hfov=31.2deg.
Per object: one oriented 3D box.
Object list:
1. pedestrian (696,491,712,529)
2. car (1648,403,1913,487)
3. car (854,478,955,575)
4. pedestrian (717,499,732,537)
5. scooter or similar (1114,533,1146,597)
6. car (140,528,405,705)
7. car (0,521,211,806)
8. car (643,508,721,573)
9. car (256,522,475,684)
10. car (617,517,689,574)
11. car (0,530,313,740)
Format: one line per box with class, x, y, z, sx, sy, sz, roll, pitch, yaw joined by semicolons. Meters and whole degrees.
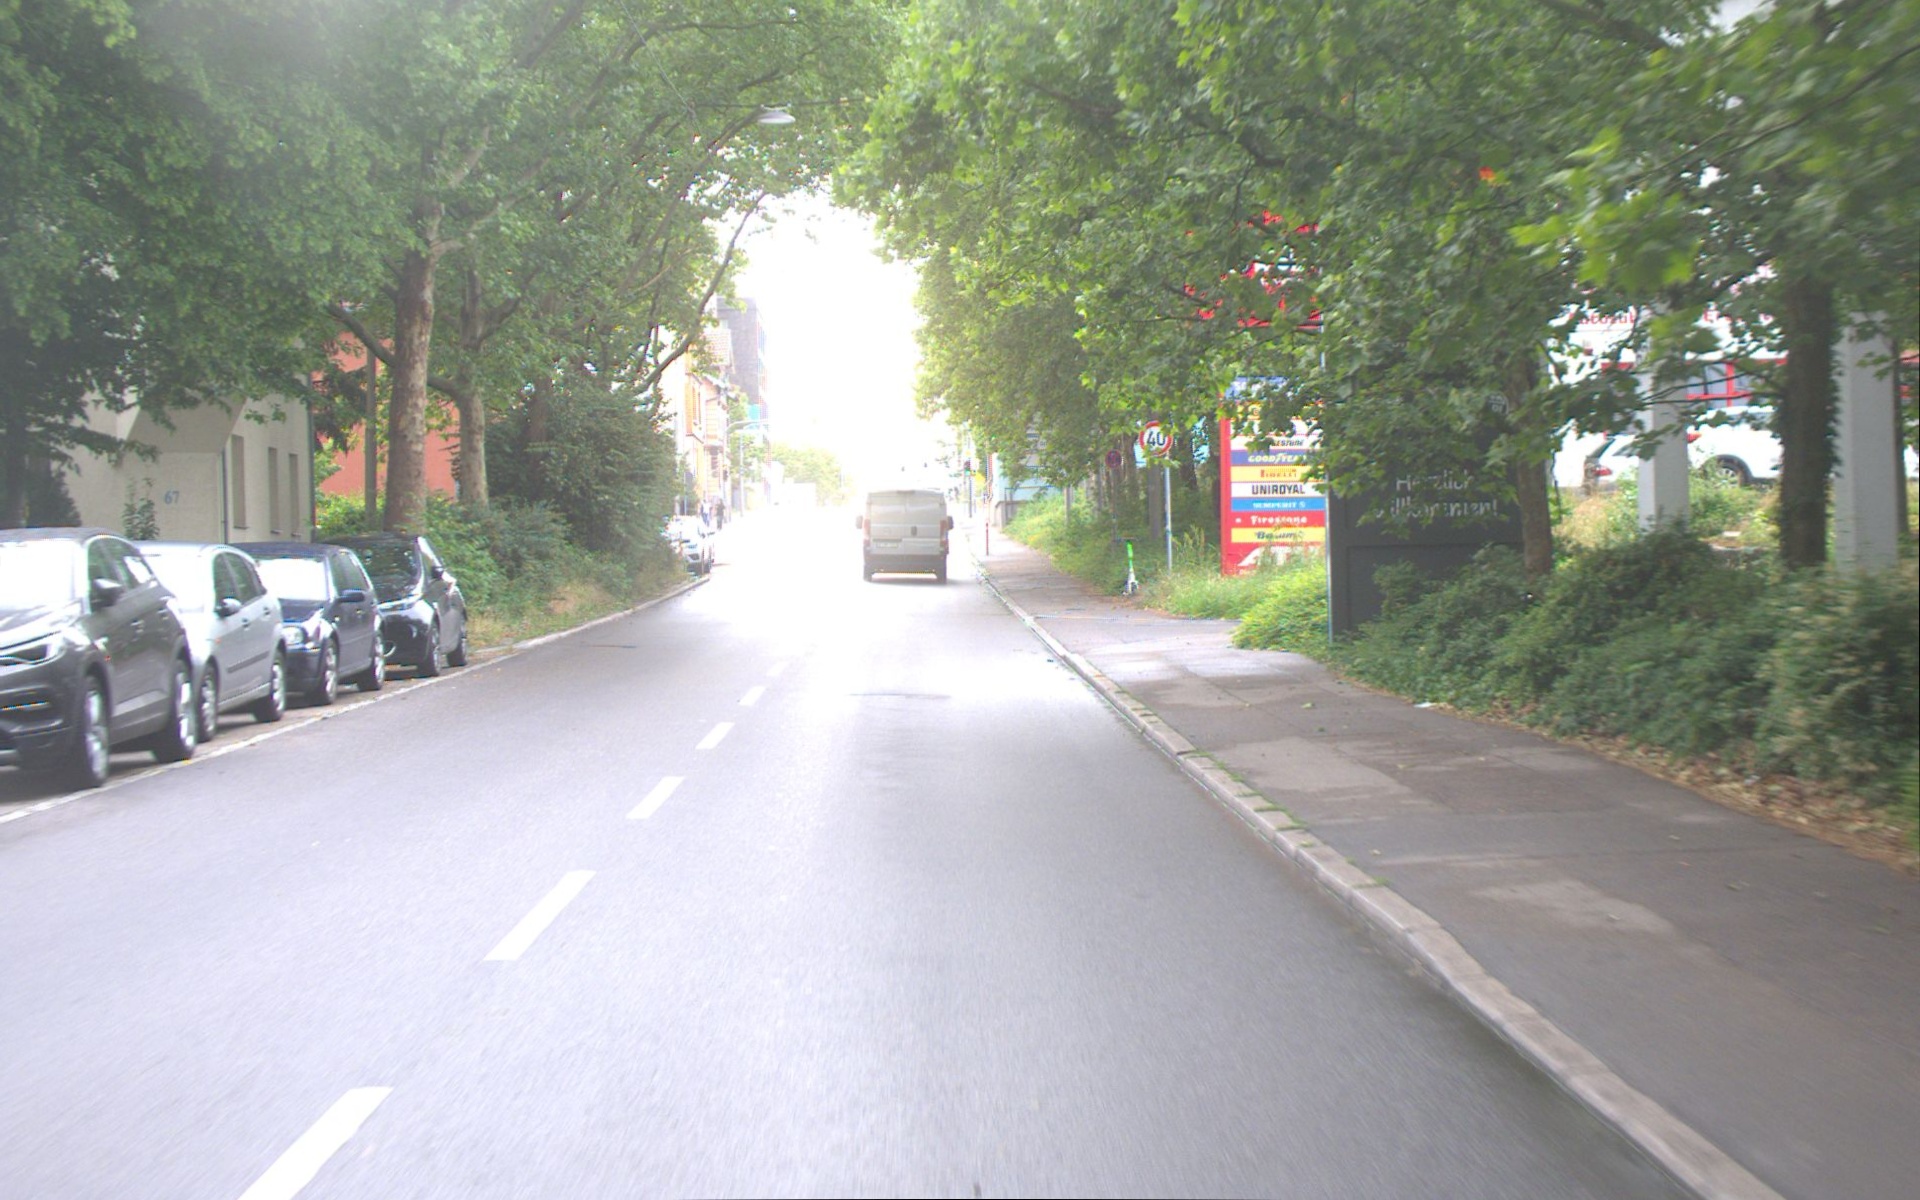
pedestrian;-13.600;-4.790;182.544;0.671;2.007;0.941;0;1;3
car;14.109;-2.662;59.297;4.100;1.371;1.903;0;1;0
car;-1.313;-1.763;83.572;2.336;2.223;4.000;-2;0;0
pedestrian;-12.515;-4.338;182.733;0.671;2.007;0.941;0;1;4
scooter or similar;3.086;-0.626;62.558;0.425;1.138;1.529;1;-1;-3
car;-6.303;0.100;31.908;1.672;1.503;3.874;-1;1;0
car;-6.030;0.354;21.449;1.864;1.586;4.240;-3;1;-2
car;-7.417;-1.619;92.100;1.691;1.536;4.118;-4;2;0
car;-6.385;-0.011;37.294;1.647;1.532;4.019;-5;1;-1
car;-7.697;-1.387;86.404;1.638;1.368;3.760;0;2;-2
car;-6.297;0.210;26.826;1.672;1.503;4.123;0;1;1
